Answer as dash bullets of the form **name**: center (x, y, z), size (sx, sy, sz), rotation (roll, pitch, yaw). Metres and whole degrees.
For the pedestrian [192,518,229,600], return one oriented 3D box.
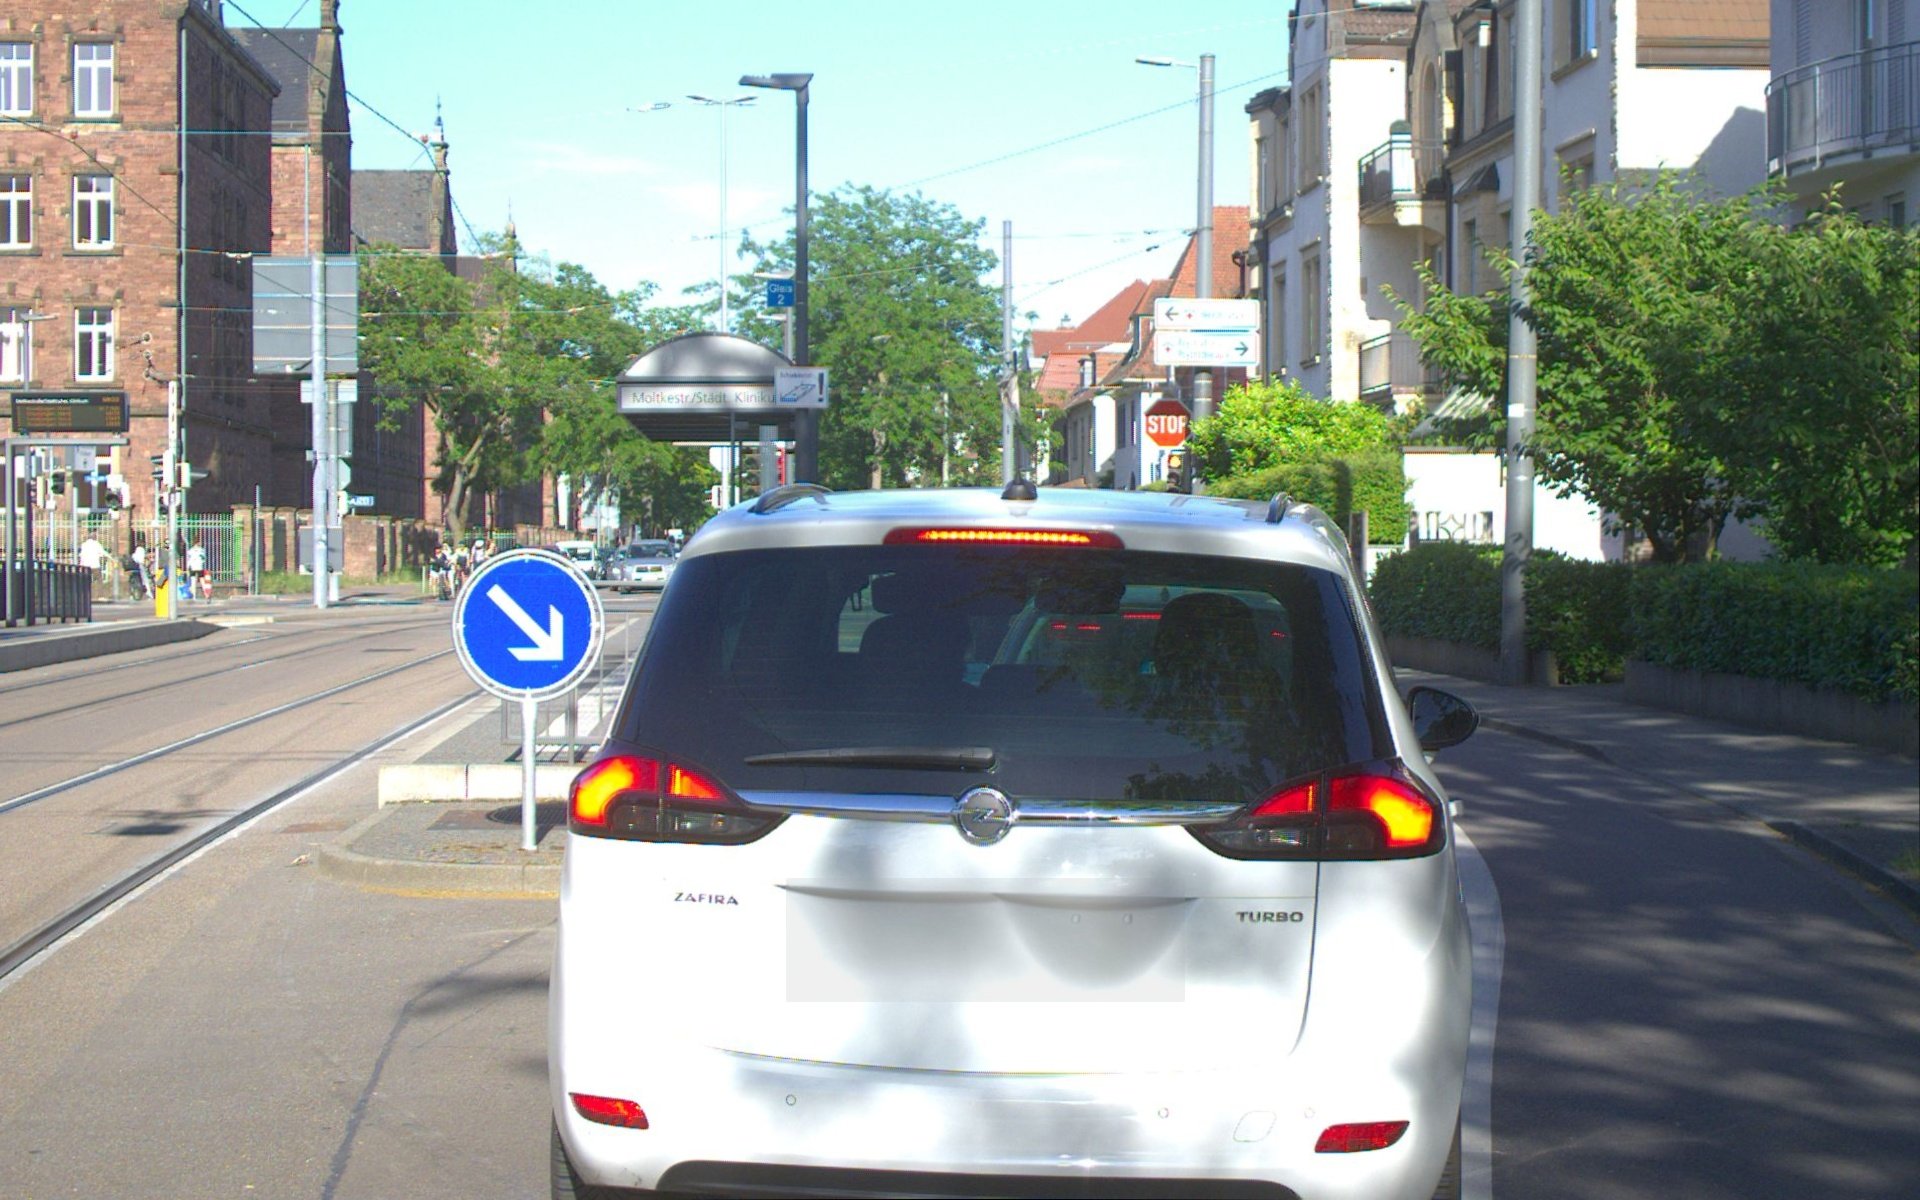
- **pedestrian**: center (-18.526, -1.003, 84.980), size (0.794, 2.007, 0.721), rotation (1, 0, -17)

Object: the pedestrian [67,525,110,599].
- **pedestrian**: center (-22.562, -0.994, 89.010), size (0.808, 1.894, 0.743), rotation (1, 0, 14)

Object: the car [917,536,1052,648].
- **car**: center (0.340, -0.151, 53.094), size (1.907, 1.656, 4.001), rotation (0, 1, -2)

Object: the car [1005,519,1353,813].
- **car**: center (1.435, 0.327, 21.029), size (1.907, 1.619, 3.999), rotation (0, 1, 7)

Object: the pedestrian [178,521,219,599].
- **pedestrian**: center (-19.709, -1.032, 88.974), size (0.795, 2.007, 0.720), rotation (1, 0, -37)

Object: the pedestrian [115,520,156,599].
- **pedestrian**: center (-21.196, -1.047, 88.351), size (0.795, 2.007, 0.720), rotation (1, 0, -34)

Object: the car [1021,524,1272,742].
- **car**: center (1.568, 0.214, 28.279), size (1.907, 1.656, 4.000), rotation (0, 1, 4)

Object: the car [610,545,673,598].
- **car**: center (-10.649, -0.949, 115.223), size (1.746, 1.710, 4.000), rotation (1, 1, -1)

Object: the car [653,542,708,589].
- **car**: center (-10.485, -1.296, 129.075), size (1.746, 1.710, 4.000), rotation (1, 1, -1)

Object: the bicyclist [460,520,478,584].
- **bicyclist**: center (-15.596, -1.520, 109.131), size (0.498, 2.007, 0.572), rotation (0, 1, -1)

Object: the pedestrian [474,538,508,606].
- **pedestrian**: center (-13.200, -0.791, 96.774), size (0.741, 1.894, 0.811), rotation (1, 0, -24)

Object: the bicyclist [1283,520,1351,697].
- **bicyclist**: center (3.438, 0.072, 33.117), size (0.616, 1.681, 0.779), rotation (0, 1, 4)

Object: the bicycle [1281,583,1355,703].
- **bicycle**: center (3.431, 0.399, 33.090), size (0.624, 1.093, 1.973), rotation (0, 1, 4)

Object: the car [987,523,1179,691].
- **car**: center (1.245, 0.034, 36.116), size (1.907, 1.656, 4.000), rotation (0, 1, 1)

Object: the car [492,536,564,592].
- **car**: center (-13.424, -1.121, 107.050), size (1.746, 1.710, 4.000), rotation (1, 1, -1)

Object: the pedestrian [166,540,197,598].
- **pedestrian**: center (-21.590, -0.865, 95.383), size (0.654, 1.606, 0.711), rotation (1, 0, 2)

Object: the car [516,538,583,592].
- **car**: center (-13.550, -1.156, 113.717), size (1.746, 1.710, 4.000), rotation (1, 1, -1)

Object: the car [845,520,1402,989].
- **car**: center (0.783, 0.488, 13.779), size (1.907, 1.592, 3.999), rotation (0, 1, 7)

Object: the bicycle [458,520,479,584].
- **bicycle**: center (-15.605, -1.520, 109.149), size (0.487, 2.007, 1.405), rotation (0, 1, 0)

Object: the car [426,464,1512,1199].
- **car**: center (0.229, 0.555, 7.994), size (1.907, 1.656, 3.999), rotation (0, 1, 7)

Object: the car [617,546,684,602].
- **car**: center (-9.637, -0.820, 107.366), size (1.746, 1.710, 4.000), rotation (1, 1, -1)

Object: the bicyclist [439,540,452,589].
- **bicyclist**: center (-15.423, -1.067, 103.048), size (0.313, 1.439, 0.384), rotation (0, 1, -1)
